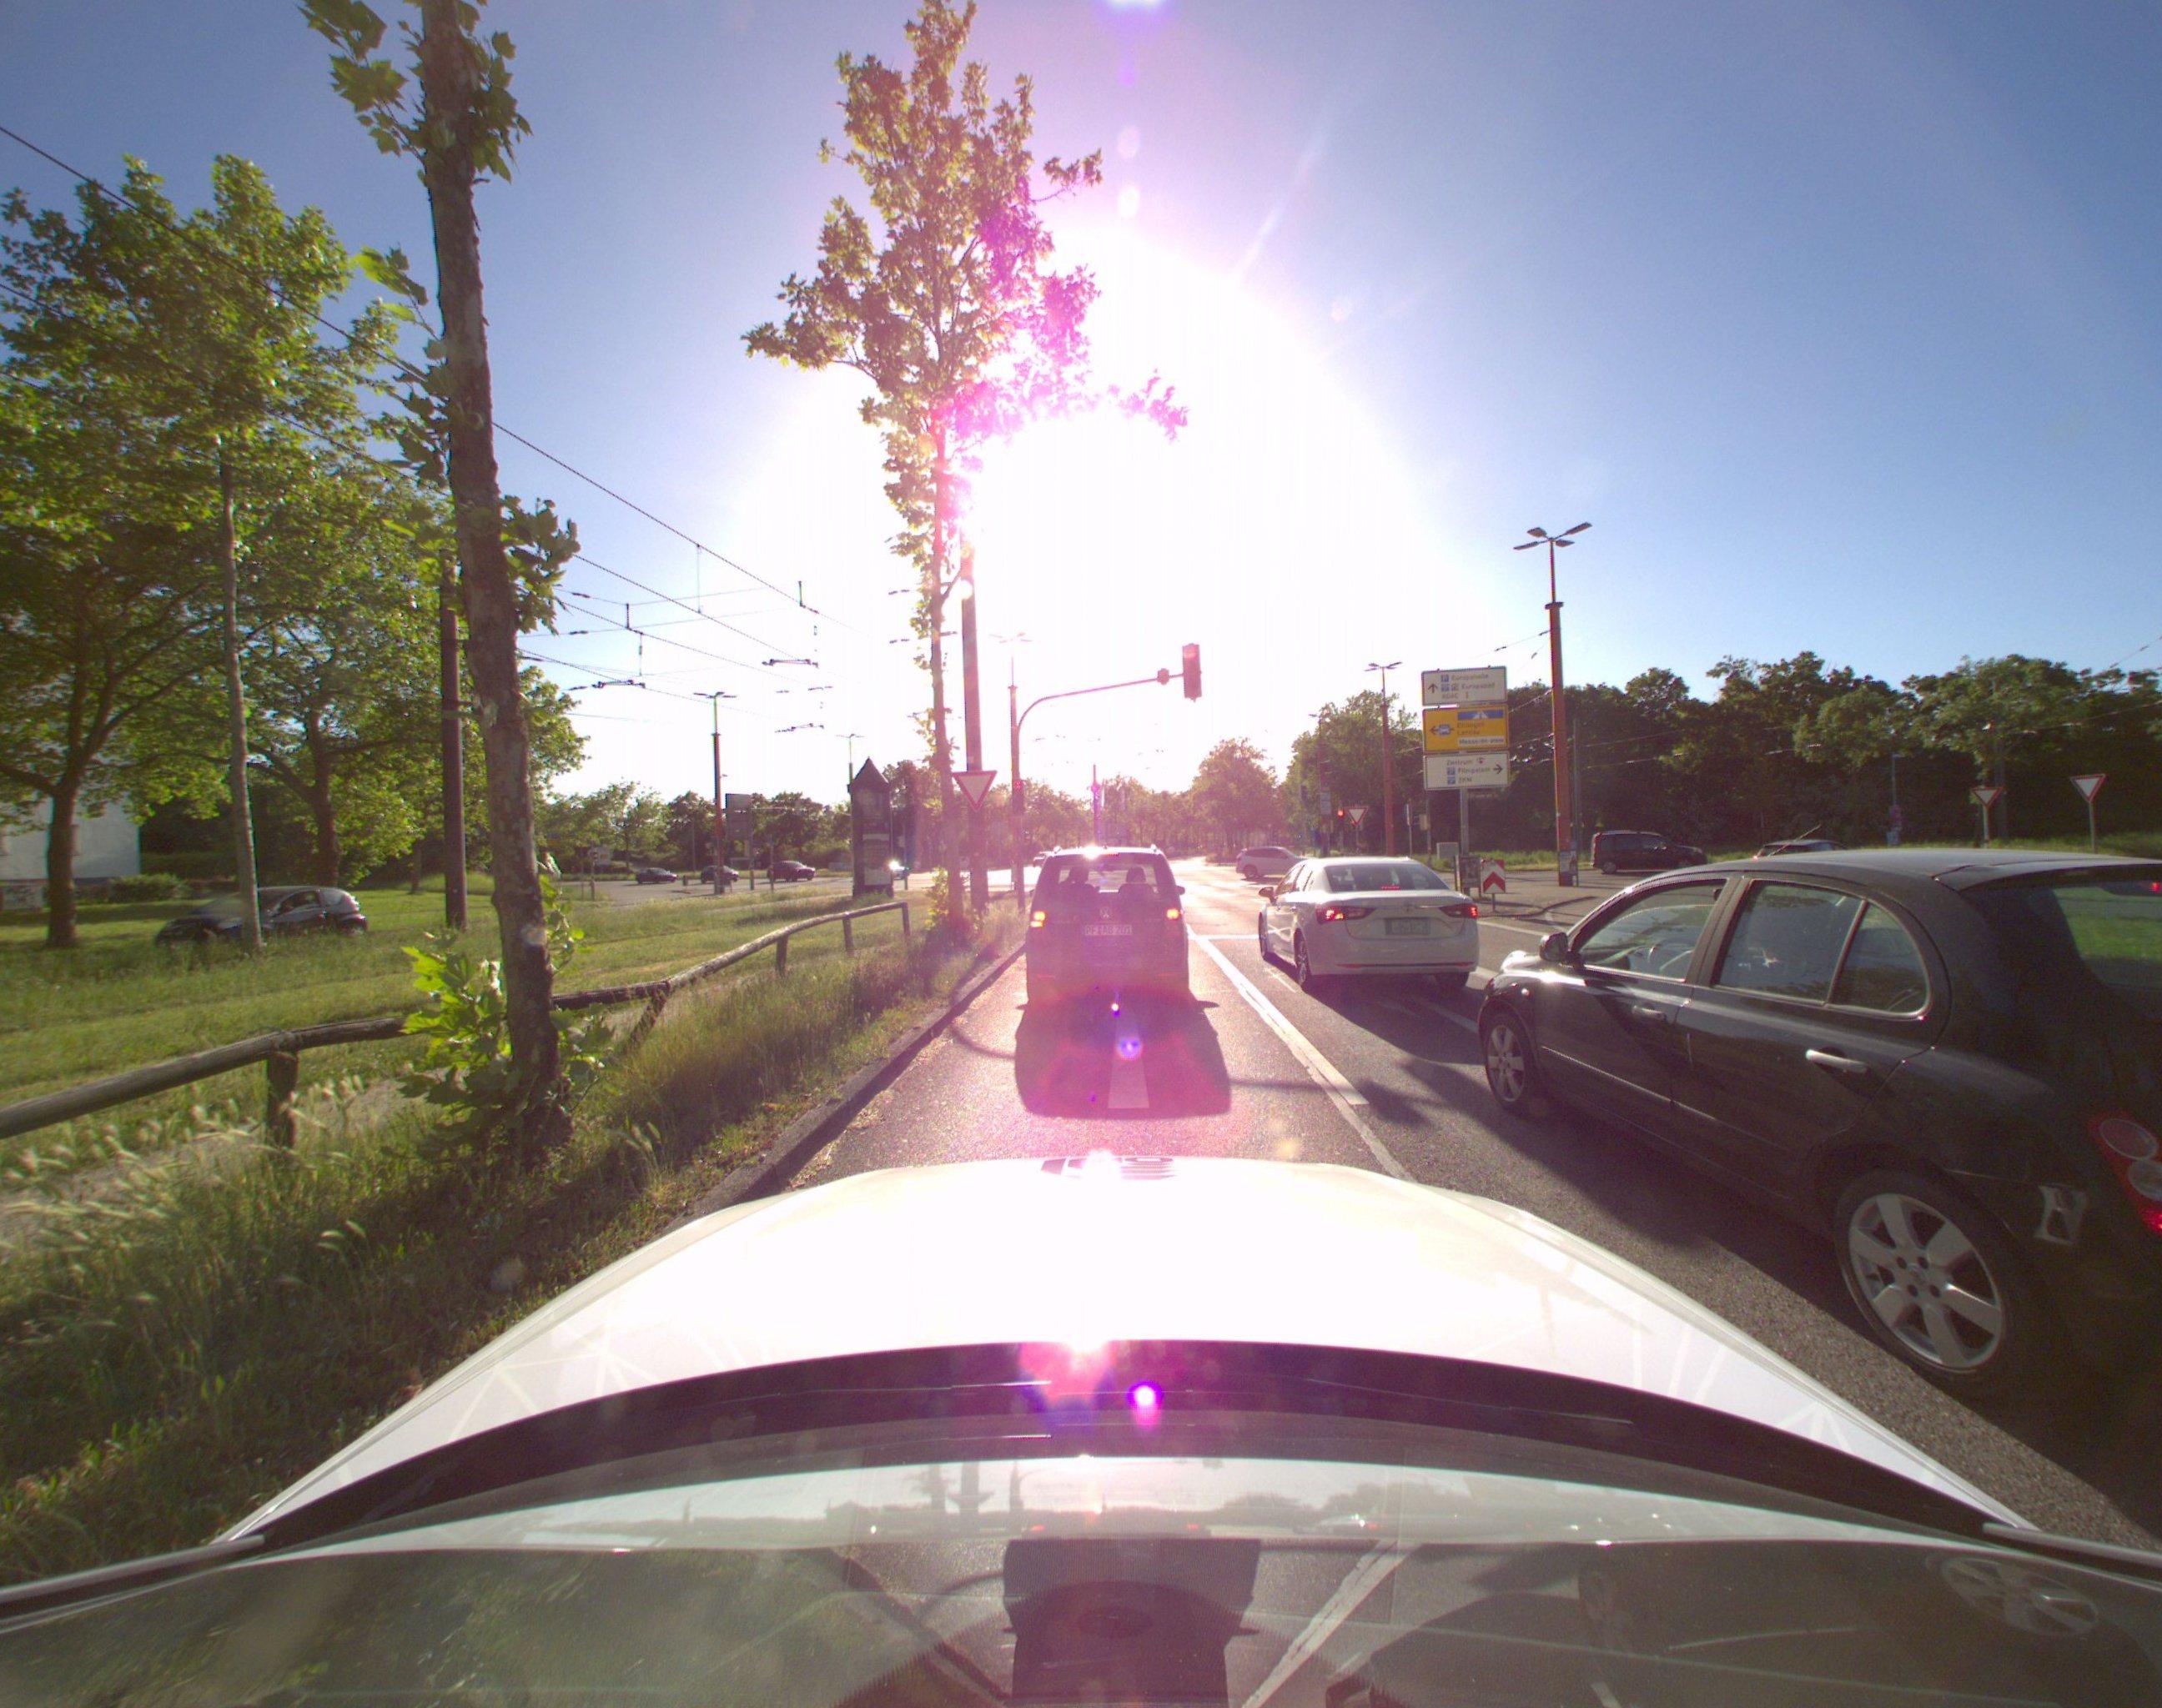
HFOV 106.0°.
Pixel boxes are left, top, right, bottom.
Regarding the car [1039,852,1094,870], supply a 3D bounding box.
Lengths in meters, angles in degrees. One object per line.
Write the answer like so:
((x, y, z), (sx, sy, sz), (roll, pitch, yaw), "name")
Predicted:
((-1.235, 0.600, 69.675), (4.229, 1.464, 1.898), (-2, 0, -25), "car")

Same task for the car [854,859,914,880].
((-15.322, 1.203, 63.387), (4.173, 1.464, 1.924), (-2, 0, 20), "car")

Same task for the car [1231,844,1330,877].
((10.699, 0.351, 43.724), (4.734, 1.598, 1.926), (-2, 0, 31), "car")

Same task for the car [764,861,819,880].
((-24.083, 1.357, 67.800), (4.318, 1.464, 1.926), (-2, 0, 29), "car")

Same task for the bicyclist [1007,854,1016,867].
((-8.111, 0.761, 95.010), (0.686, 1.457, 0.879), (-2, -1, 20), "bicyclist")

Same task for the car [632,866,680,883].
((-40.076, 1.922, 76.828), (4.187, 1.464, 1.926), (-2, 0, 28), "car")

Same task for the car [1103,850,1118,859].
((5.941, 0.067, 163.025), (1.979, 1.684, 4.846), (-2, 0, 14), "car")

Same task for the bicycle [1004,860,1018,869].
((-8.142, 1.228, 94.789), (0.728, 1.090, 1.971), (-2, 0, 21), "bicycle")

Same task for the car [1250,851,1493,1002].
((3.296, 0.718, 10.112), (1.708, 1.454, 4.147), (-2, 0, 3), "car")

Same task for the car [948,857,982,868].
((-14.294, 1.070, 100.632), (3.822, 1.310, 1.649), (-2, 0, -25), "car")

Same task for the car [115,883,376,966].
((-17.681, 1.422, 17.534), (1.817, 1.420, 3.753), (-2, 0, -4), "car")

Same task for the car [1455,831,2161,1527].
((3.166, 0.693, 3.508), (1.550, 1.506, 3.517), (-2, 0, 2), "car")

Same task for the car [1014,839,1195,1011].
((0.295, 0.695, 9.985), (1.731, 1.641, 4.002), (-2, 0, 2), "car")

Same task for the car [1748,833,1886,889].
((21.622, 0.189, 23.918), (3.901, 1.469, 1.736), (-2, 0, -27), "car")

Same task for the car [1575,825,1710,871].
((24.449, -0.246, 35.699), (4.734, 1.836, 1.926), (-2, 0, 31), "car")
